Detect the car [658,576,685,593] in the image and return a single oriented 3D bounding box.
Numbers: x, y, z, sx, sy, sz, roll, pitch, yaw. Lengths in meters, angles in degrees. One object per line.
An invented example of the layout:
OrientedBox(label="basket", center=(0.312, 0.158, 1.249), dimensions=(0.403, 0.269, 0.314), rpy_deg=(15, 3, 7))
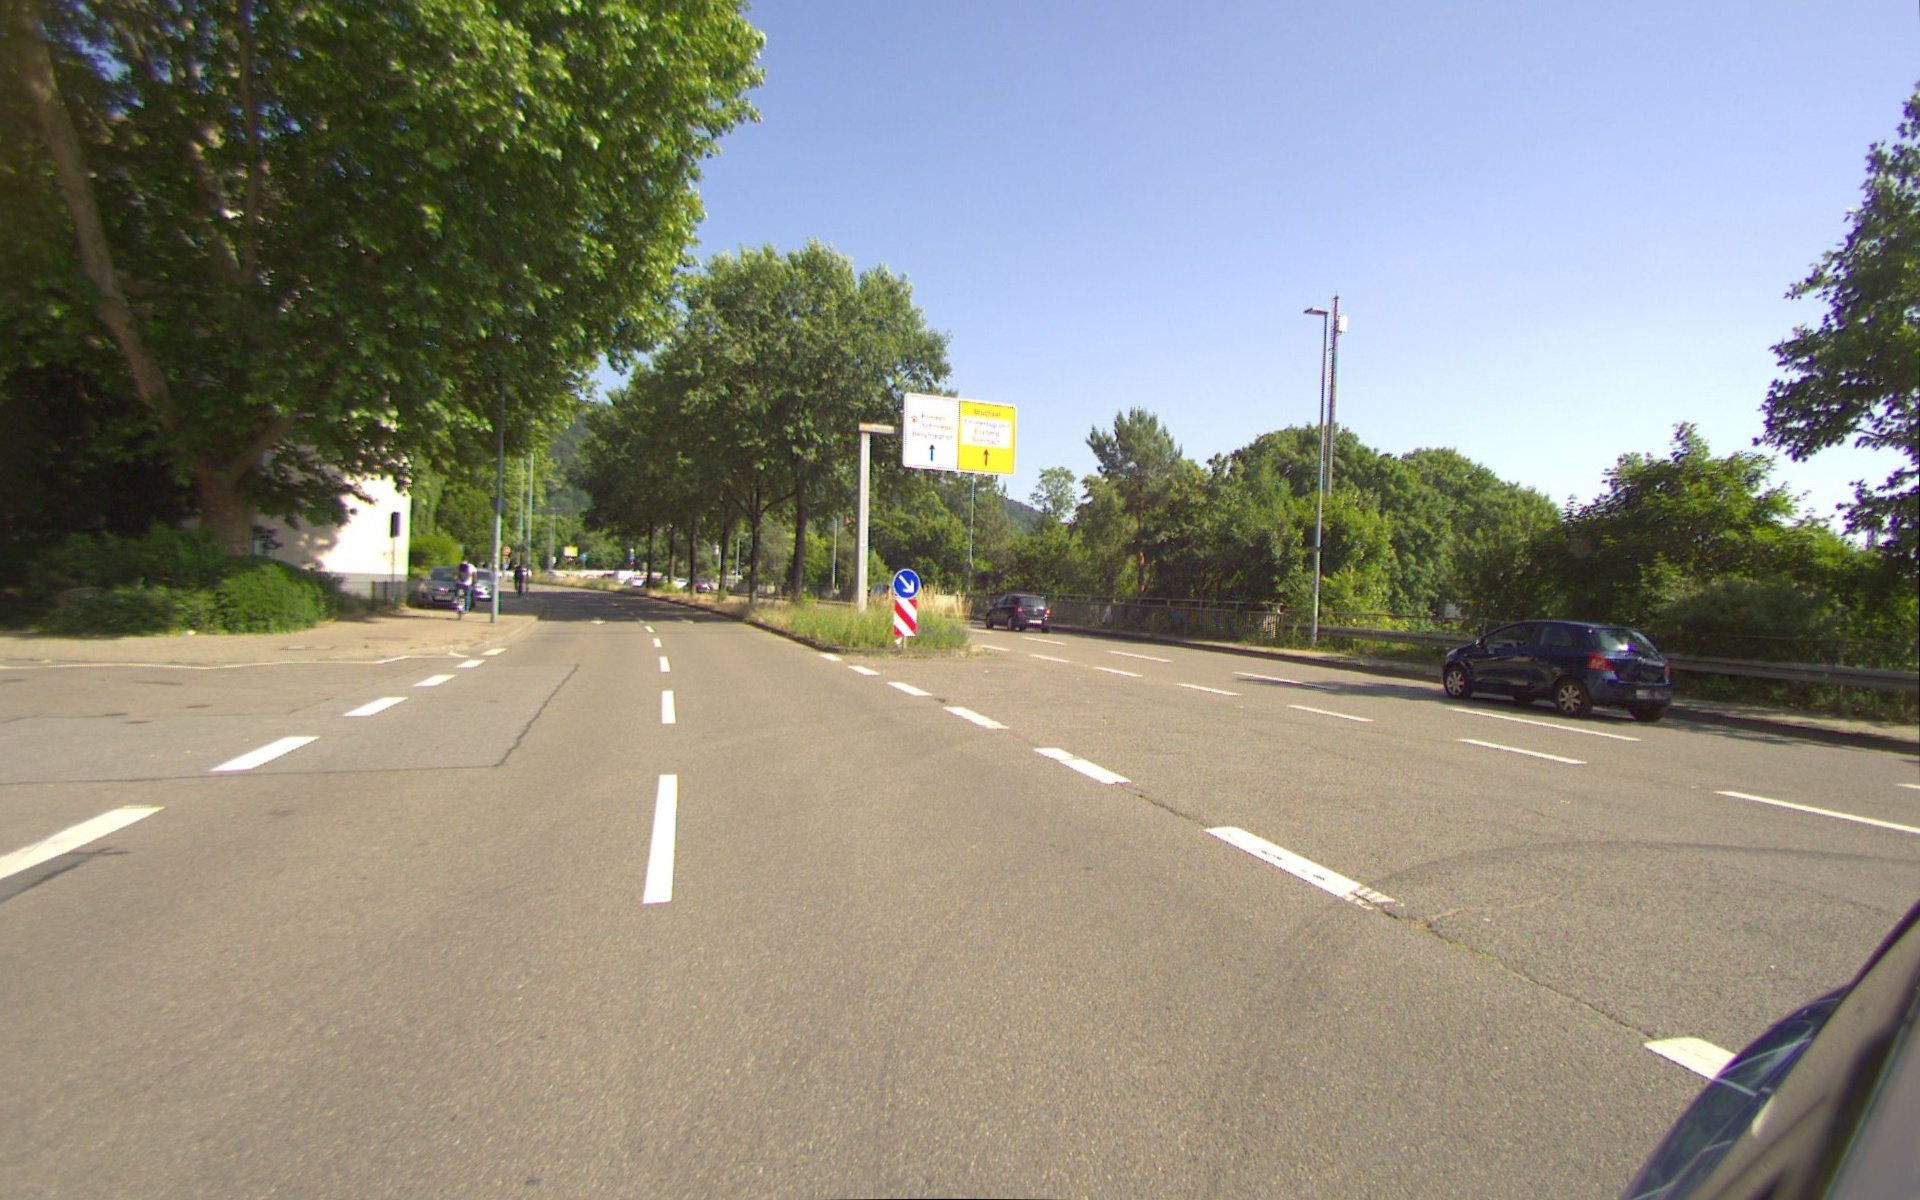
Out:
OrientedBox(label="car", center=(-31.792, -1.737, 111.517), dimensions=(1.959, 1.698, 4.006), rpy_deg=(2, 1, -28))

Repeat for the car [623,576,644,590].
OrientedBox(label="car", center=(-36.837, -1.894, 114.221), dimensions=(1.601, 1.514, 3.686), rpy_deg=(2, 1, -28))

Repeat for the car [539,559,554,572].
OrientedBox(label="car", center=(-61.692, -5.142, 150.860), dimensions=(1.601, 1.834, 3.597), rpy_deg=(2, 0, -28))

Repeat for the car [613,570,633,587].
OrientedBox(label="car", center=(-40.085, -2.561, 120.235), dimensions=(1.601, 1.939, 3.686), rpy_deg=(2, 1, -28))

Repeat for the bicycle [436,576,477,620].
OrientedBox(label="bicycle", center=(-14.210, -0.057, 28.572), dimensions=(0.543, 1.203, 1.287), rpy_deg=(2, 0, -3))

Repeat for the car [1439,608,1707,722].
OrientedBox(label="car", center=(10.066, 1.002, 16.962), dimensions=(1.611, 1.519, 3.658), rpy_deg=(4, 0, -16))

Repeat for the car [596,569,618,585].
OrientedBox(label="car", center=(-48.153, -3.152, 137.951), dimensions=(1.960, 1.890, 4.005), rpy_deg=(4, 0, -30))

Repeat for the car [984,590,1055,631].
OrientedBox(label="car", center=(2.318, 0.378, 40.249), dimensions=(1.646, 1.487, 3.585), rpy_deg=(2, 0, -17))

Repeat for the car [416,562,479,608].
OrientedBox(label="car", center=(-18.404, -0.551, 36.483), dimensions=(1.756, 1.531, 3.901), rpy_deg=(2, 1, -23))

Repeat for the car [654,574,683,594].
OrientedBox(label="car", center=(-29.469, -1.679, 102.325), dimensions=(1.959, 1.914, 4.006), rpy_deg=(2, 1, -28))

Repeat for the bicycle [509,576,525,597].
OrientedBox(label="bicycle", center=(-25.045, -0.794, 57.217), dimensions=(0.648, 1.136, 1.805), rpy_deg=(2, 0, -29))

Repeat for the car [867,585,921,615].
OrientedBox(label="car", center=(-4.043, -0.030, 61.408), dimensions=(1.883, 1.685, 4.321), rpy_deg=(2, 1, -23))

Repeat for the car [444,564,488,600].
OrientedBox(label="car", center=(-23.099, -0.847, 47.281), dimensions=(1.613, 1.594, 4.005), rpy_deg=(2, 1, -29))

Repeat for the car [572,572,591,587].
OrientedBox(label="car", center=(-47.523, -2.551, 127.038), dimensions=(1.601, 1.834, 3.597), rpy_deg=(2, 1, -28))

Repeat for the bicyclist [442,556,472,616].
OrientedBox(label="bicyclist", center=(-14.201, -0.395, 28.597), dimensions=(0.530, 1.654, 0.590), rpy_deg=(2, 0, -3))

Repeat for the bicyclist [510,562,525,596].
OrientedBox(label="bicyclist", center=(-25.030, -1.188, 57.184), dimensions=(0.635, 1.918, 0.840), rpy_deg=(2, 0, -30))

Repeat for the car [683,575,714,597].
OrientedBox(label="car", center=(-24.023, -1.305, 92.868), dimensions=(1.958, 1.914, 4.008), rpy_deg=(2, 1, -25))
